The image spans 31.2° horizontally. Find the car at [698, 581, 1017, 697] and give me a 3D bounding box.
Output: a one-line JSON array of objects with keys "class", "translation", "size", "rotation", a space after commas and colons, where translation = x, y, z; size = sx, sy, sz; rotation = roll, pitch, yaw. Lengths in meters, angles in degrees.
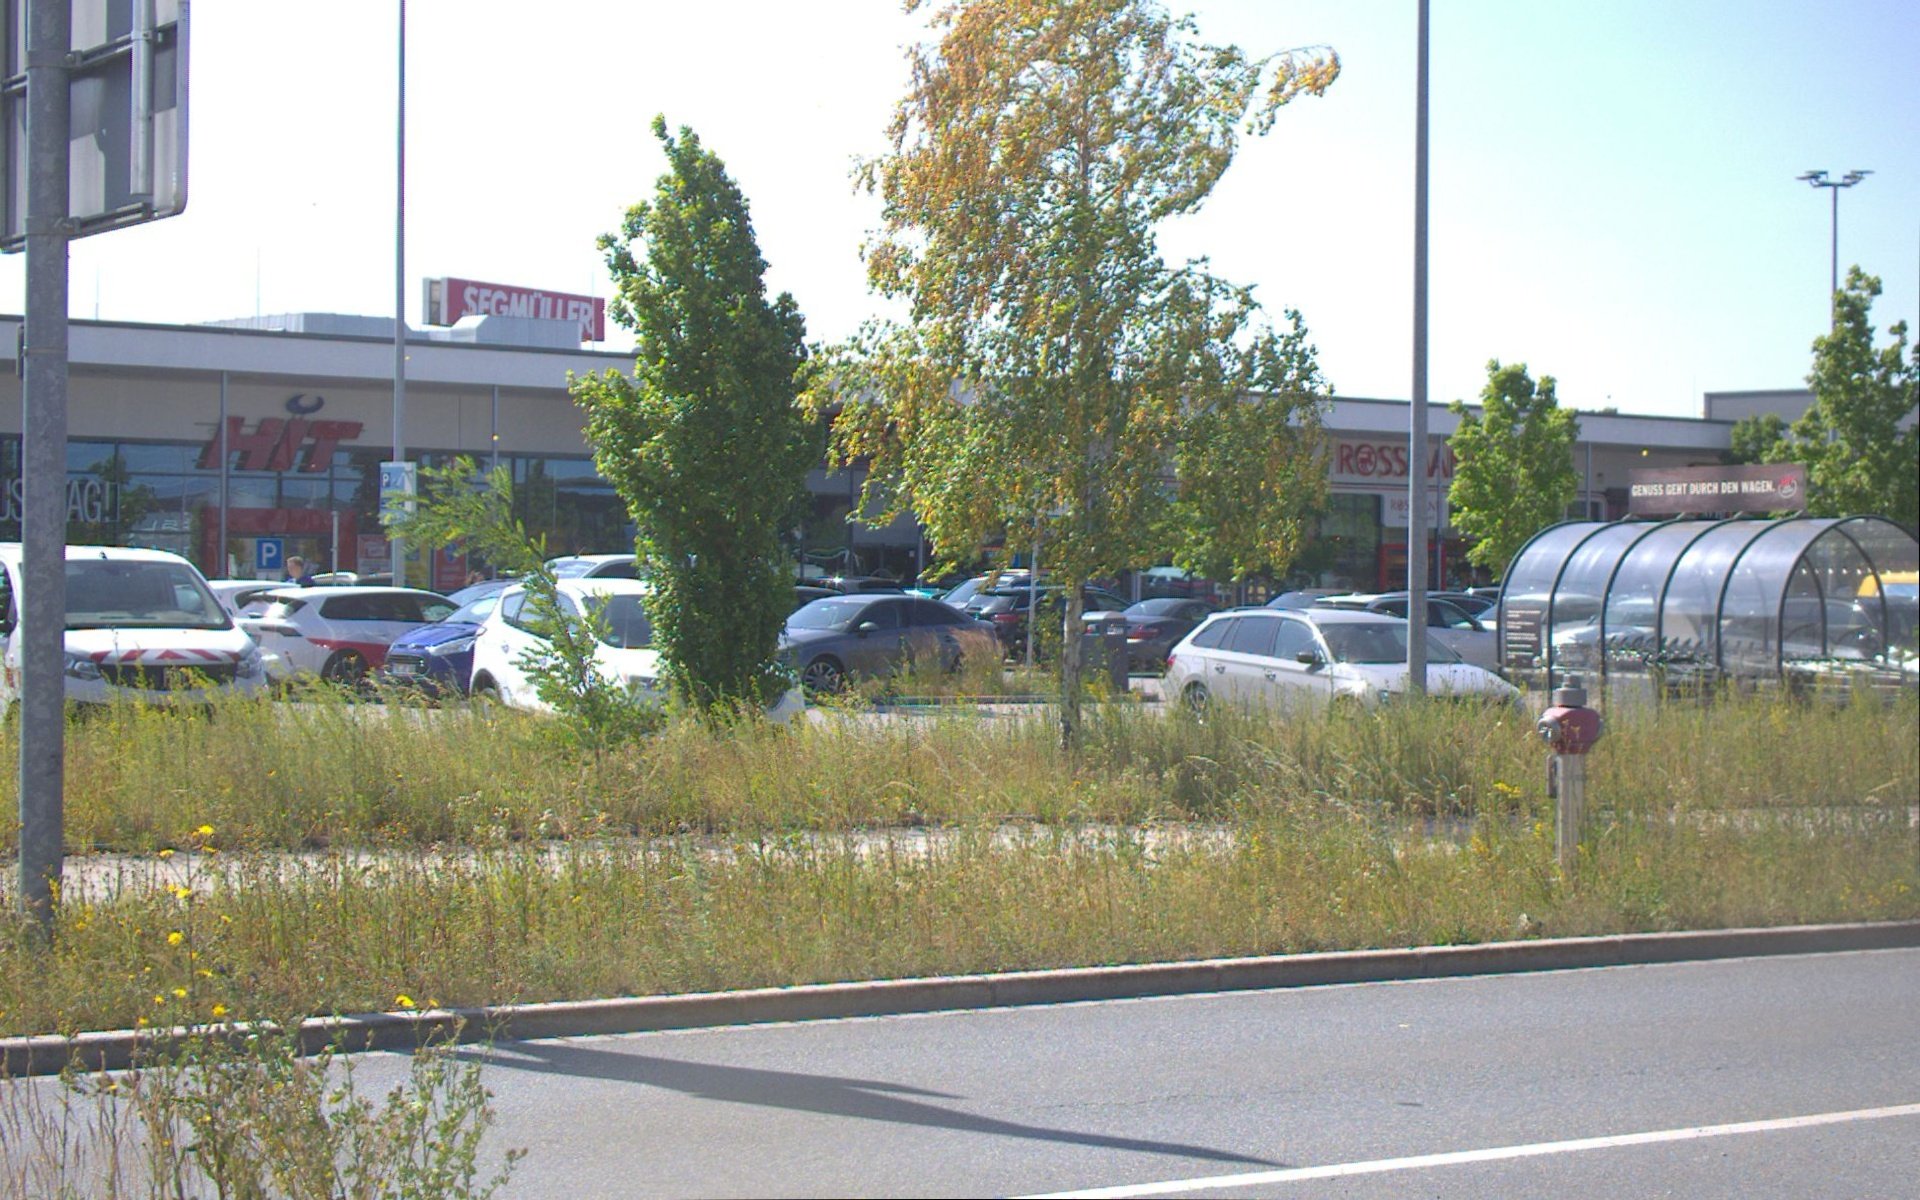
[{"class": "car", "translation": [-1.365, 0.523, 46.495], "size": [3.988, 1.503, 1.874], "rotation": [1, 0, -39]}]

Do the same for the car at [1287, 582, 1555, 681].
[{"class": "car", "translation": [7.324, 0.505, 54.386], "size": [4.337, 1.515, 1.655], "rotation": [1, 0, -39]}]

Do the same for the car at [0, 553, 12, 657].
[{"class": "car", "translation": [-17.479, 0.054, 57.112], "size": [1.994, 1.701, 3.999], "rotation": [0, 1, -37]}]

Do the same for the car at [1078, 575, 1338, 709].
[{"class": "car", "translation": [4.244, 0.710, 58.334], "size": [1.999, 2.184, 4.473], "rotation": [0, 0, 44]}]

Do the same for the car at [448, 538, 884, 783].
[{"class": "car", "translation": [-2.763, 0.477, 30.946], "size": [2.157, 2.007, 5.117], "rotation": [1, 0, -27]}]

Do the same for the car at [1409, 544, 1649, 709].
[{"class": "car", "translation": [10.090, 0.468, 60.760], "size": [1.999, 2.812, 4.473], "rotation": [0, -1, 44]}]

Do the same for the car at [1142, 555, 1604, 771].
[{"class": "car", "translation": [4.055, 0.565, 34.771], "size": [2.157, 2.007, 5.117], "rotation": [1, 0, -27]}]

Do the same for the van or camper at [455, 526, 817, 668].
[{"class": "van or camper", "translation": [-4.743, -0.050, 50.736], "size": [5.036, 2.007, 1.999], "rotation": [0, 1, -38]}]

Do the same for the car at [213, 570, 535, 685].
[{"class": "car", "translation": [-7.456, 0.332, 43.912], "size": [3.722, 1.386, 1.731], "rotation": [0, 1, -44]}]

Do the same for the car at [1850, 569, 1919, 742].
[{"class": "car", "translation": [12.693, 0.675, 39.295], "size": [2.157, 2.007, 5.117], "rotation": [1, 0, -24]}]

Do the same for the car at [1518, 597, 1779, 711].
[{"class": "car", "translation": [11.739, 0.904, 58.462], "size": [4.471, 1.857, 1.999], "rotation": [1, 0, -40]}]

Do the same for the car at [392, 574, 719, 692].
[{"class": "car", "translation": [-4.980, 0.390, 42.553], "size": [3.722, 1.386, 1.731], "rotation": [0, 1, -44]}]

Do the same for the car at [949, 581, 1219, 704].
[{"class": "car", "translation": [2.205, 0.744, 60.681], "size": [4.470, 2.095, 2.000], "rotation": [1, 0, -36]}]

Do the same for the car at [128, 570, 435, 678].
[{"class": "car", "translation": [-9.142, 0.307, 46.450], "size": [3.722, 1.386, 1.731], "rotation": [0, 1, -44]}]

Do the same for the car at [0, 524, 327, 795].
[{"class": "car", "translation": [-7.188, 0.414, 28.176], "size": [2.081, 2.007, 5.228], "rotation": [1, 0, -33]}]
